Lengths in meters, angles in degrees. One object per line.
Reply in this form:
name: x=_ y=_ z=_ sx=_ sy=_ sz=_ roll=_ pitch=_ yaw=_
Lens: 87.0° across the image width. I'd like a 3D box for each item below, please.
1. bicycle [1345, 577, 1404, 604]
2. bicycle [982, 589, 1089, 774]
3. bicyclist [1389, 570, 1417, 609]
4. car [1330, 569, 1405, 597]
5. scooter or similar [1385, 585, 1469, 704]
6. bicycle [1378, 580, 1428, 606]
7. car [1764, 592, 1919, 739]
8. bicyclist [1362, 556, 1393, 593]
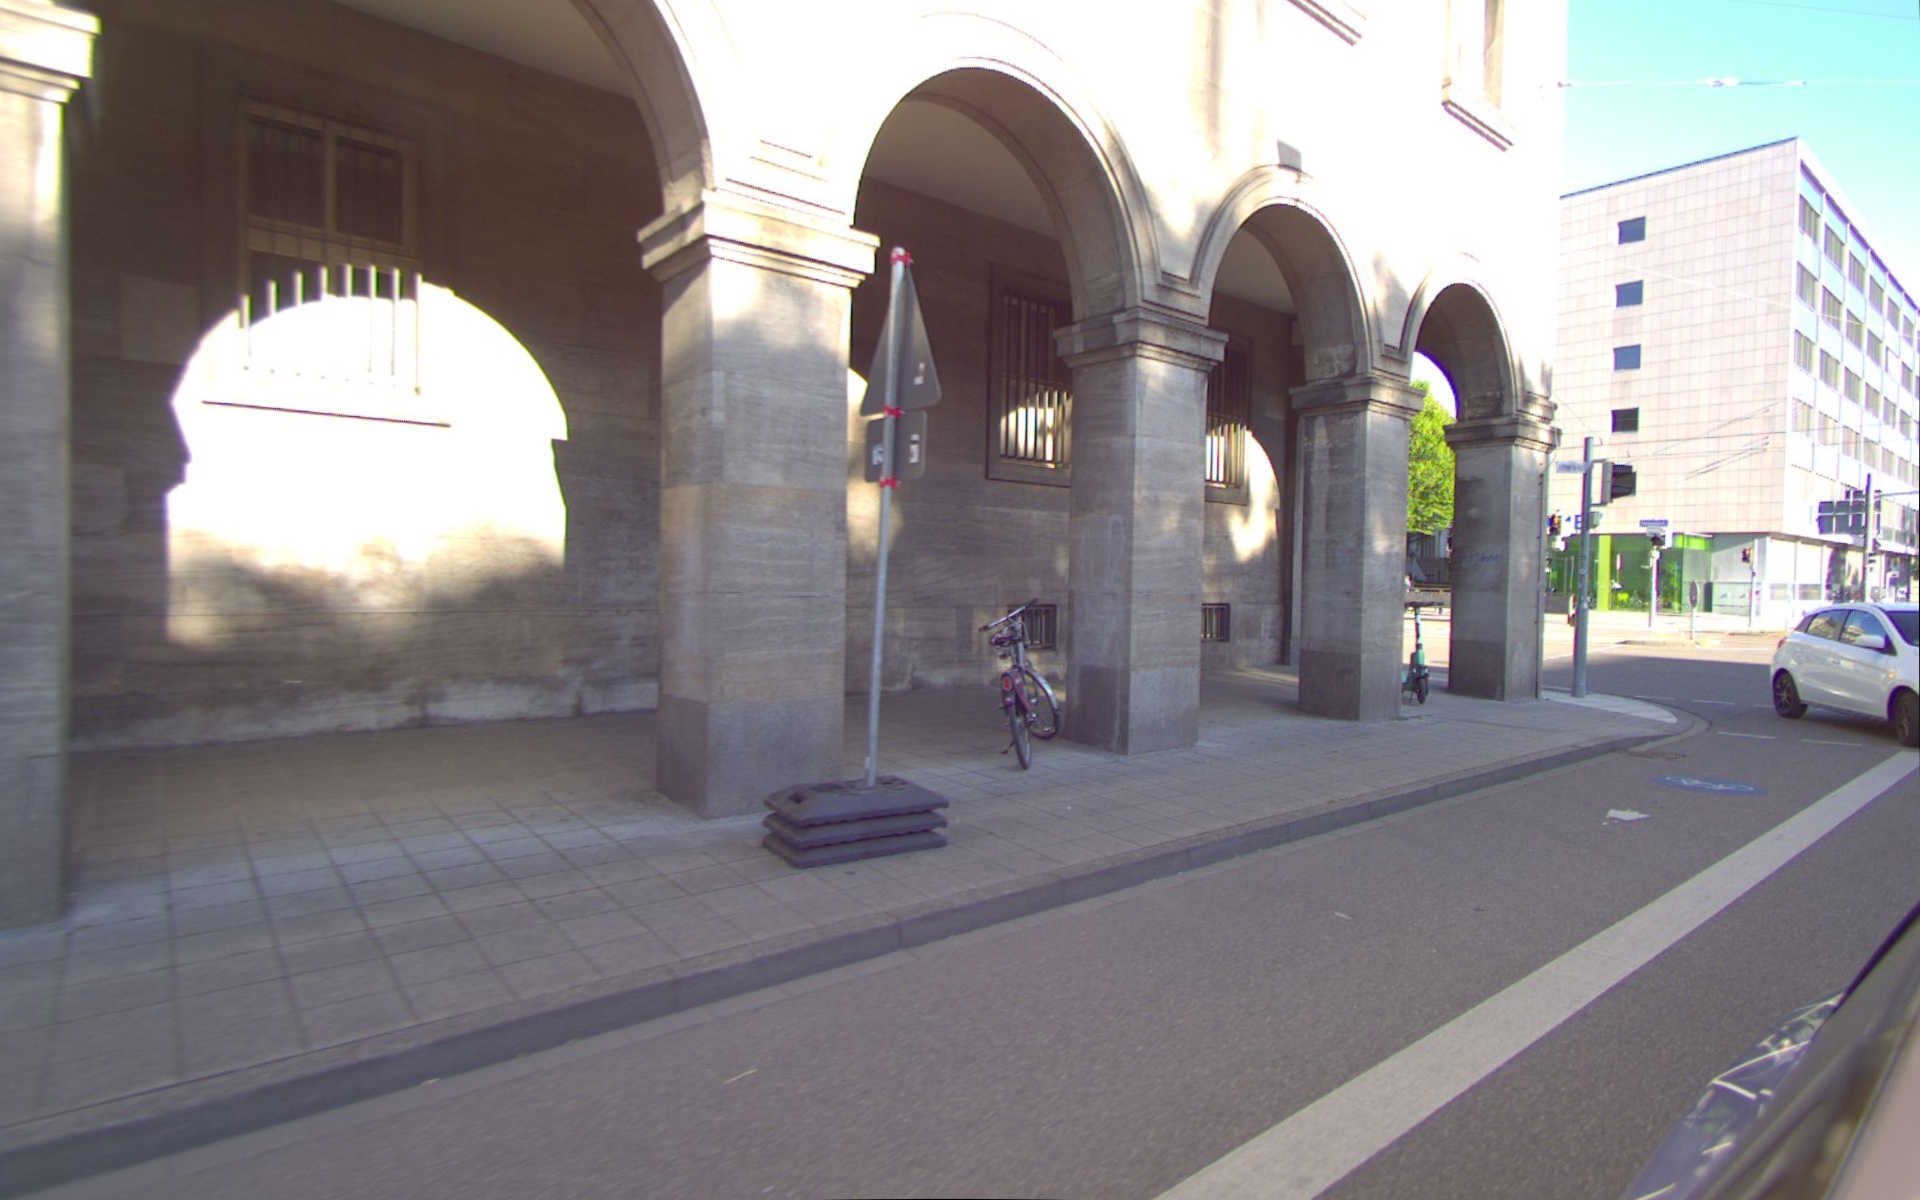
bicycle: x=17.966 y=-0.414 z=43.888 sx=2.140 sy=1.080 sz=0.885 roll=0 pitch=4 yaw=-2
bicycle: x=0.523 y=0.538 z=7.615 sx=0.652 sy=1.147 sz=1.714 roll=2 pitch=3 yaw=1
bicyclist: x=19.840 y=-0.476 z=45.341 sx=0.930 sy=1.710 sz=0.763 roll=1 pitch=4 yaw=8
car: x=25.411 y=-1.088 z=63.187 sx=1.712 sy=1.604 sz=3.991 roll=-3 pitch=4 yaw=-43
scooter or similar: x=5.445 y=0.481 z=11.868 sx=0.633 sy=1.238 sz=1.258 roll=3 pitch=4 yaw=16
bicycle: x=19.836 y=-0.322 z=45.324 sx=1.875 sy=1.080 sz=0.754 roll=1 pitch=4 yaw=8
car: x=10.852 y=0.663 z=11.215 sx=1.655 sy=1.482 sz=3.748 roll=0 pitch=1 yaw=15
bicyclist: x=18.075 y=-1.105 z=43.844 sx=0.889 sy=1.524 sz=0.890 roll=0 pitch=4 yaw=-4
